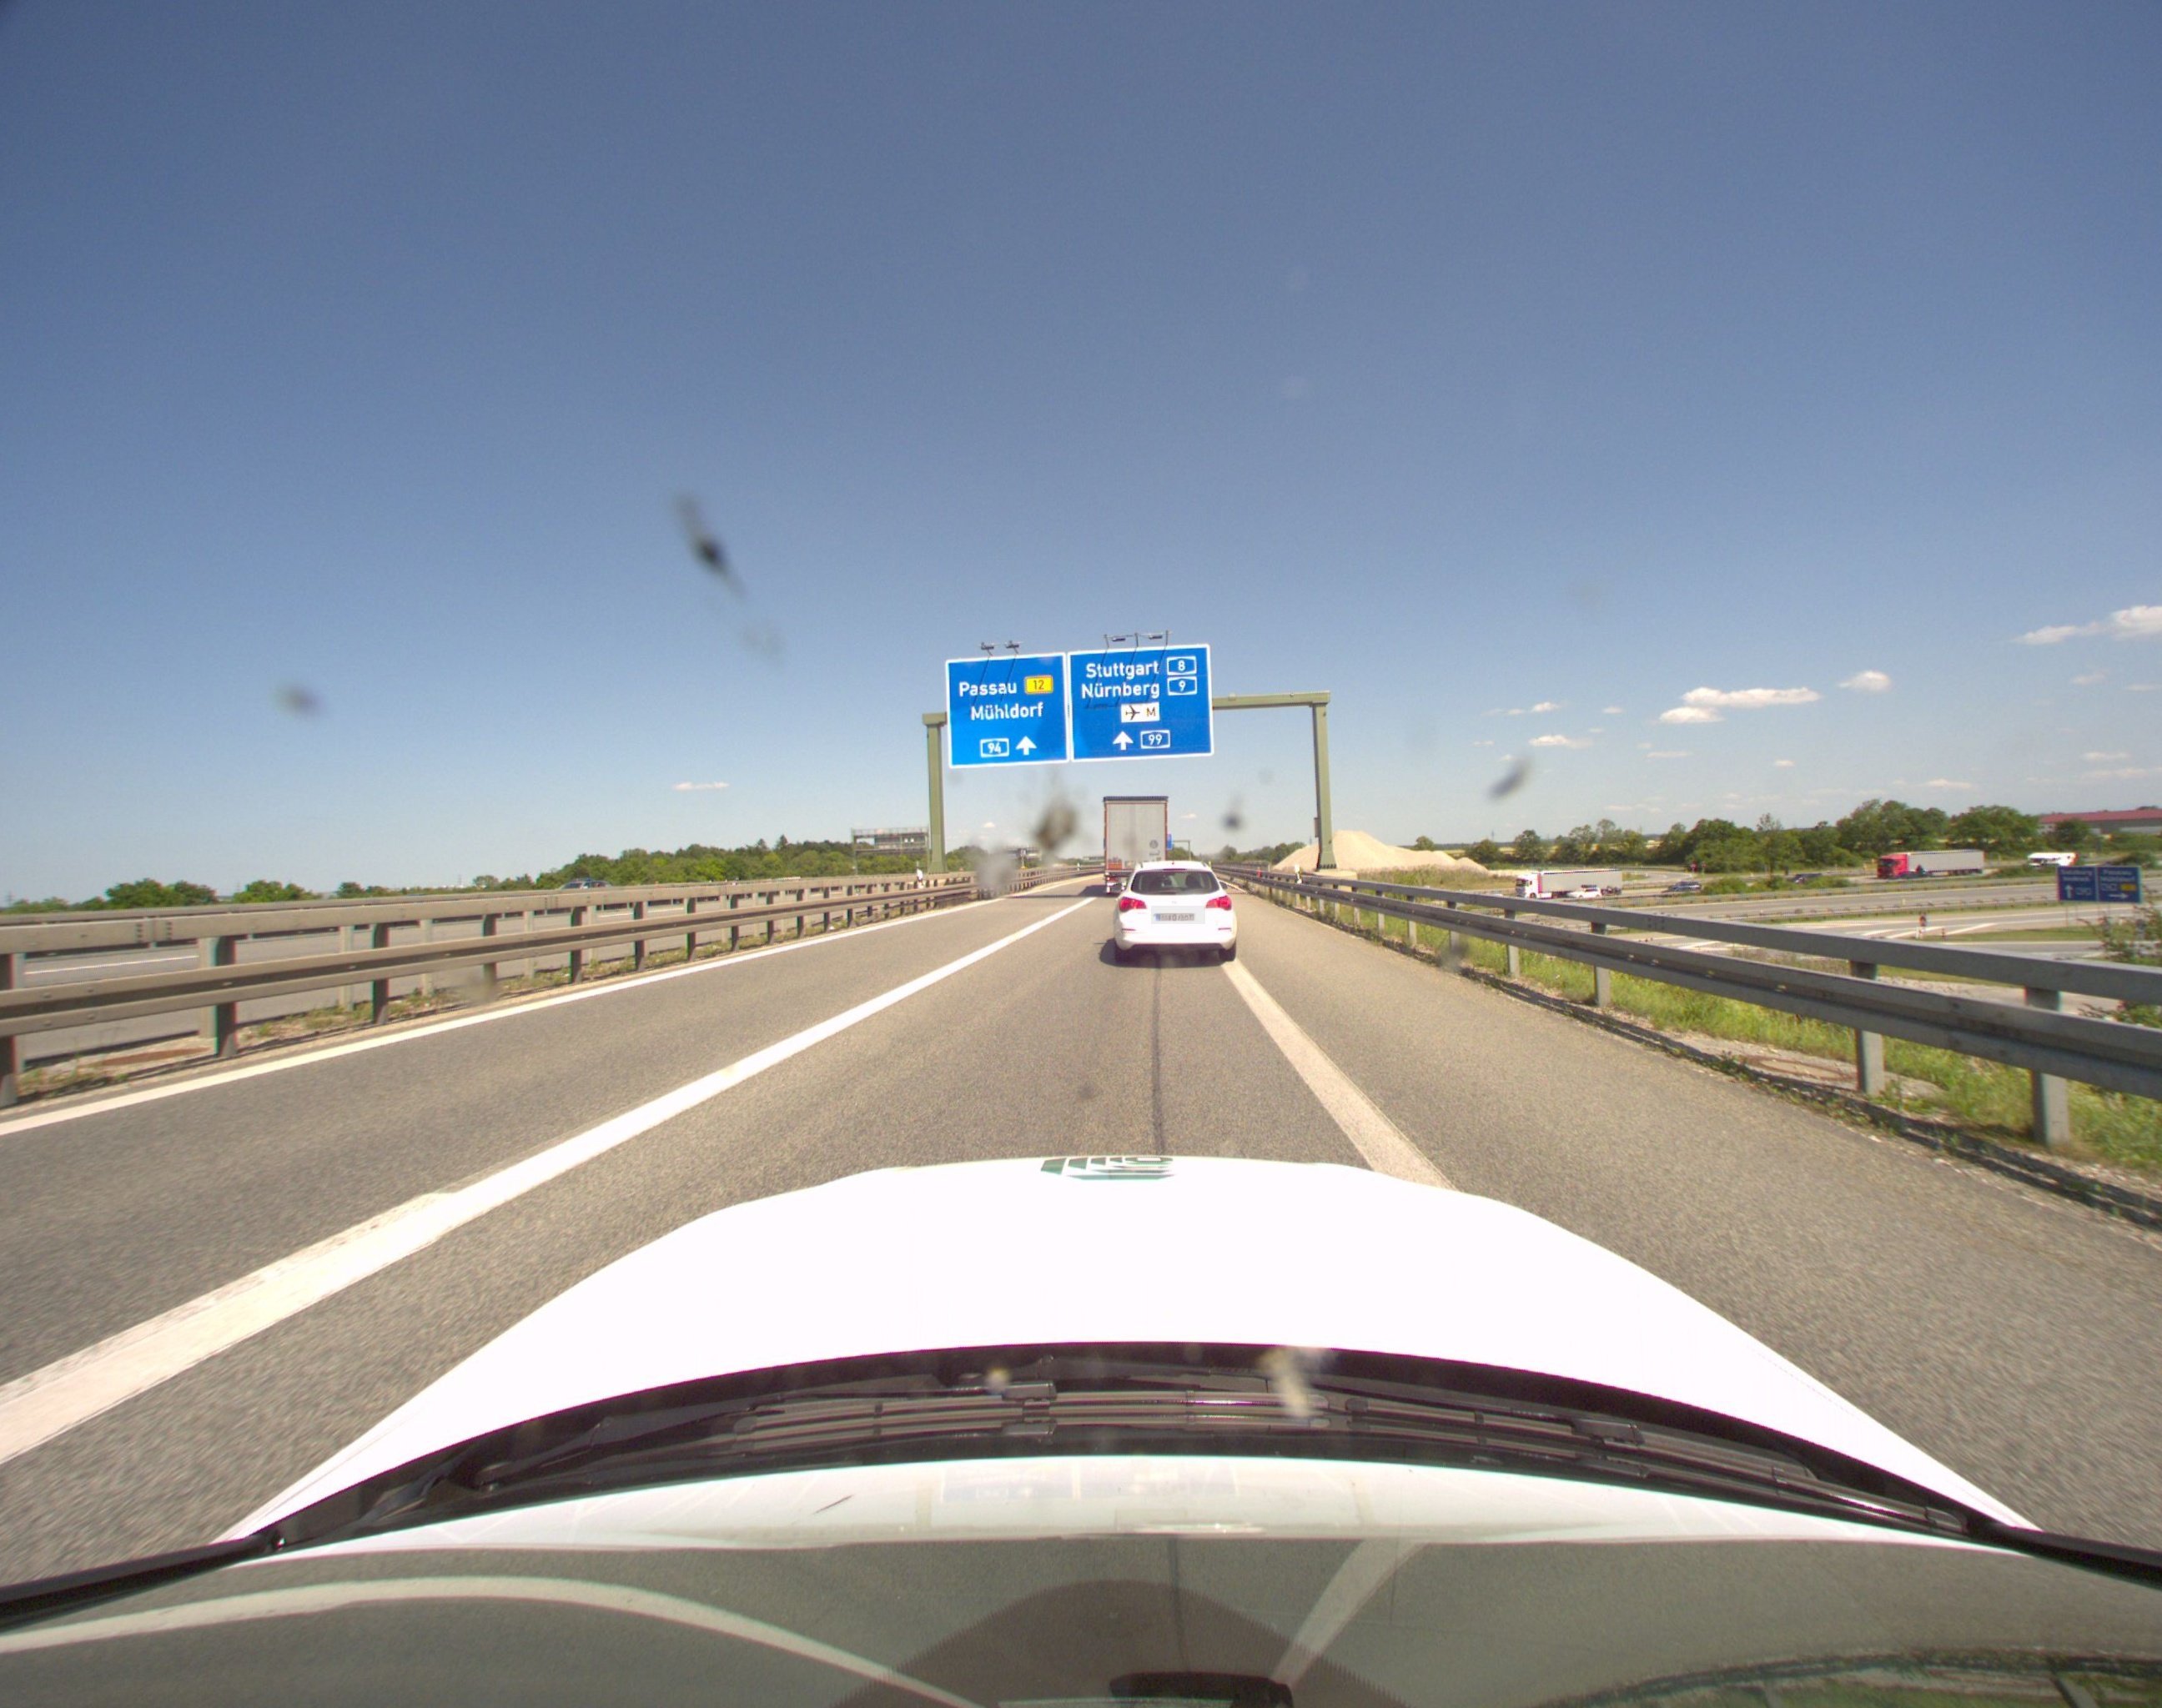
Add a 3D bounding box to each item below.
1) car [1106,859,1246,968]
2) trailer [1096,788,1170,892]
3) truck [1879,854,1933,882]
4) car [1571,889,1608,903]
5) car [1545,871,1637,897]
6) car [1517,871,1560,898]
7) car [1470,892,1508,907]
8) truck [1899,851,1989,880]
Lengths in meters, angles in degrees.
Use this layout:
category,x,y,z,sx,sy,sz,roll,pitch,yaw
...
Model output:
category,x,y,z,sx,sy,sz,roll,pitch,yaw
car,1.484,0.836,13.134,1.845,1.443,4.378,-1,-1,5
trailer,2.555,-0.390,38.257,2.899,4.146,11.271,-1,-2,5
truck,133.255,2.255,131.530,5.929,4.065,2.864,-3,-1,-6
car,75.555,6.268,121.073,4.387,2.014,1.997,0,-1,-5
car,77.768,4.538,124.322,12.946,3.964,2.479,0,-1,-5
car,69.417,4.609,123.618,5.133,3.964,2.479,0,-1,-5
car,57.322,6.400,114.400,4.387,2.014,1.997,0,-1,-5
truck,140.138,1.826,132.257,12.519,4.065,2.864,-3,-1,-6
